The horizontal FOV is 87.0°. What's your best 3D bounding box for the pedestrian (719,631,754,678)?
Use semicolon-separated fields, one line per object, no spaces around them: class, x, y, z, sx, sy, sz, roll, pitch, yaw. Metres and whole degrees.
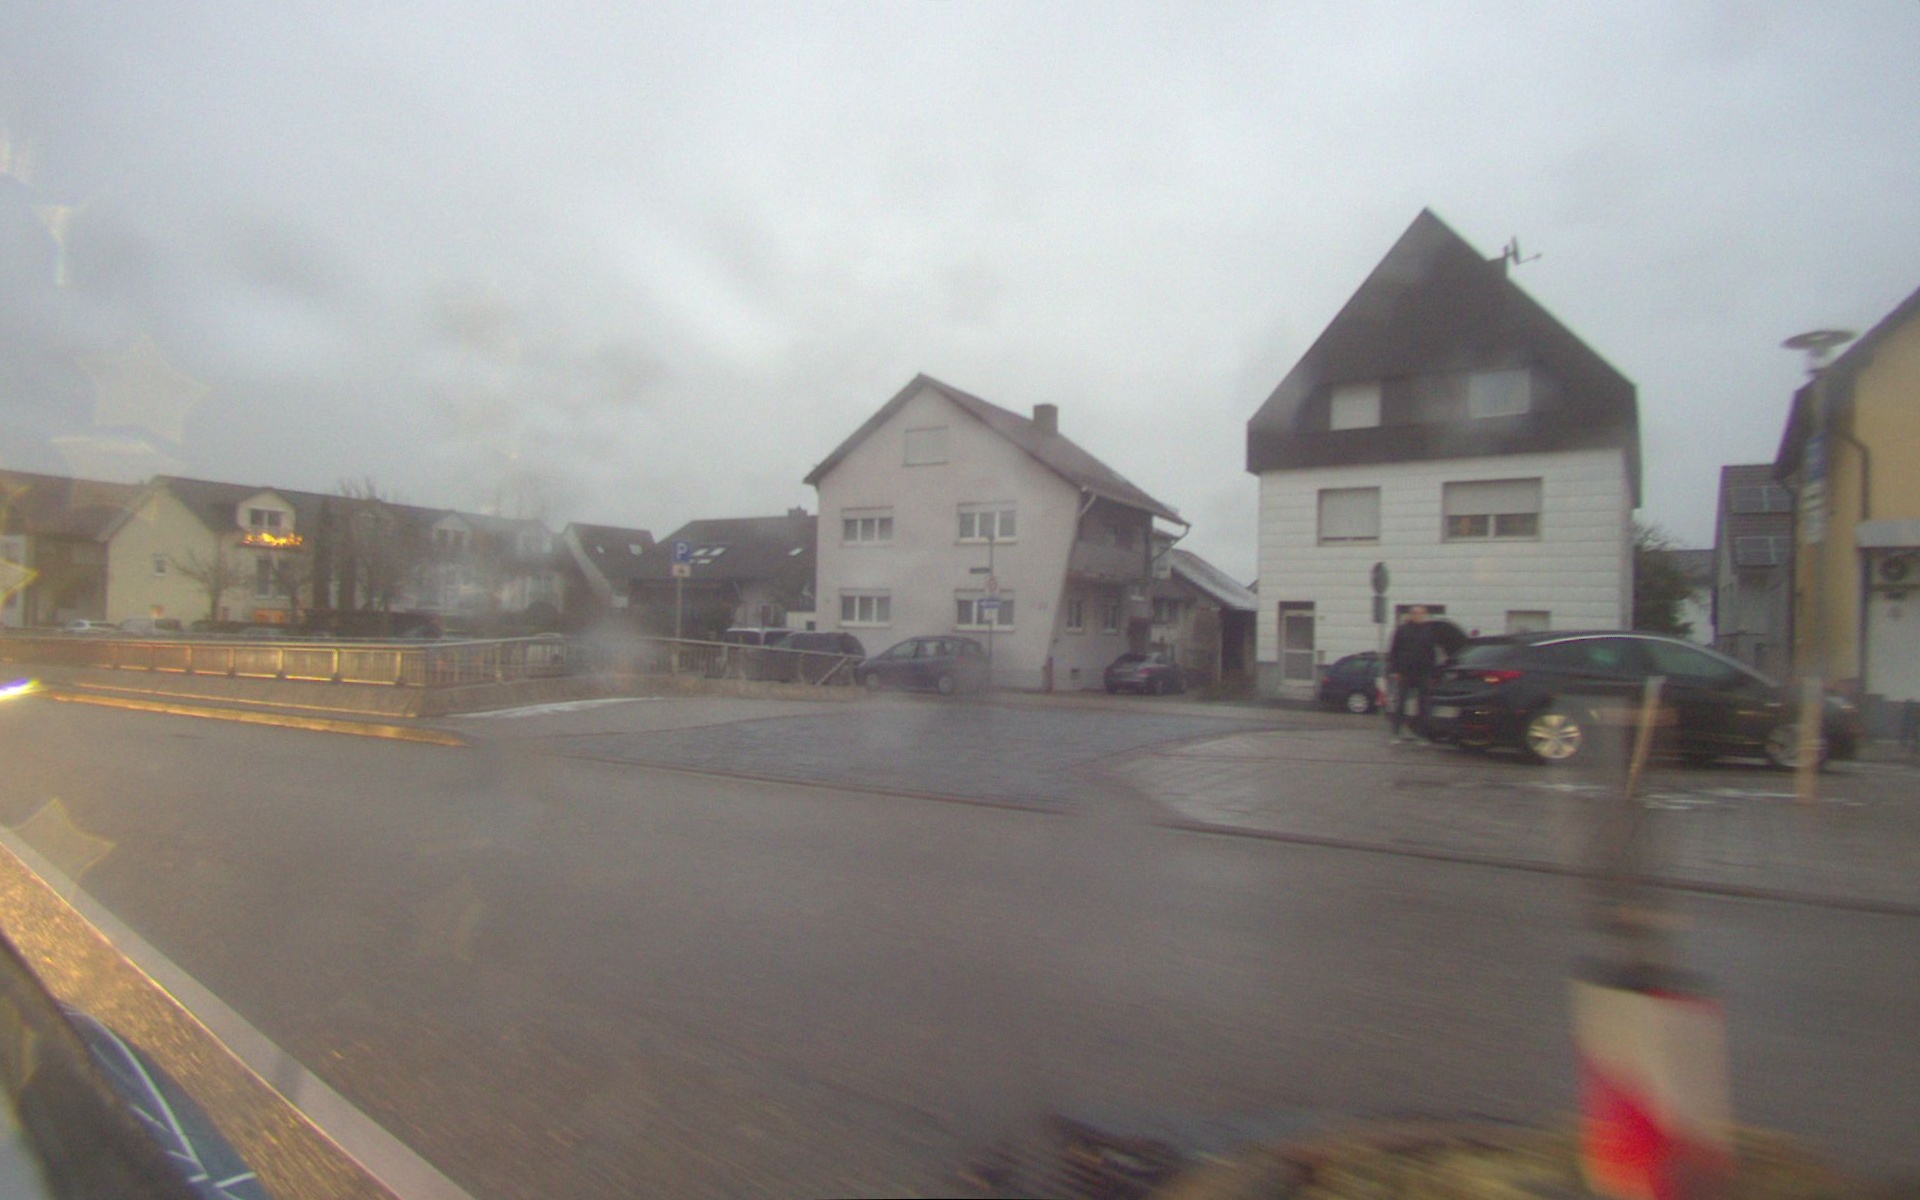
pedestrian;-6.064;1.461;27.468;0.601;1.259;0.685;-1;-2;34

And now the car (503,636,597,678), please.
car;-15.758;2.157;38.835;3.488;1.520;1.464;0;-2;29

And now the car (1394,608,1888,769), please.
car;7.293;0.913;11.194;4.122;1.543;1.914;1;-1;1

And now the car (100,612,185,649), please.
car;-42.885;1.589;53.115;4.233;1.841;1.784;0;-2;26

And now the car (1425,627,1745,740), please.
car;9.885;1.313;16.318;3.954;1.644;1.760;0;-4;9

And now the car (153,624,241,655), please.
car;-38.509;1.990;51.070;4.234;1.480;1.784;0;-2;26

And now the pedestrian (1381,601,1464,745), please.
pedestrian;5.713;0.892;12.557;0.835;1.725;0.719;0;-4;19

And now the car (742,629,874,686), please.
car;-4.832;1.772;32.015;3.944;1.673;1.687;0;-1;30

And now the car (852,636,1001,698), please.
car;-1.009;1.894;29.445;4.081;1.581;1.760;0;-1;33

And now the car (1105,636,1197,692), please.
car;6.430;2.166;33.730;1.712;1.695;3.957;2;-4;31

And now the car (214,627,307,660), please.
car;-33.677;2.097;48.723;4.234;1.480;1.784;0;-2;26

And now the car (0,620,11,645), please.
car;-59.099;1.916;60.387;4.584;1.480;1.787;0;-2;22

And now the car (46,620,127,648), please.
car;-48.006;1.872;55.642;3.989;1.480;1.664;-1;-4;22

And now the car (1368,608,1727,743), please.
car;7.991;1.037;14.109;3.847;1.683;1.838;1;-4;5

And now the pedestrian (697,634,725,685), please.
pedestrian;-6.556;1.558;26.706;0.594;1.312;0.511;0;-2;1

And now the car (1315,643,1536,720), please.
car;10.971;1.854;23.996;4.417;1.511;1.893;-2;1;38

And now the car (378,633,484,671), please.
car;-22.447;2.186;42.942;4.234;1.480;1.784;0;-2;26
